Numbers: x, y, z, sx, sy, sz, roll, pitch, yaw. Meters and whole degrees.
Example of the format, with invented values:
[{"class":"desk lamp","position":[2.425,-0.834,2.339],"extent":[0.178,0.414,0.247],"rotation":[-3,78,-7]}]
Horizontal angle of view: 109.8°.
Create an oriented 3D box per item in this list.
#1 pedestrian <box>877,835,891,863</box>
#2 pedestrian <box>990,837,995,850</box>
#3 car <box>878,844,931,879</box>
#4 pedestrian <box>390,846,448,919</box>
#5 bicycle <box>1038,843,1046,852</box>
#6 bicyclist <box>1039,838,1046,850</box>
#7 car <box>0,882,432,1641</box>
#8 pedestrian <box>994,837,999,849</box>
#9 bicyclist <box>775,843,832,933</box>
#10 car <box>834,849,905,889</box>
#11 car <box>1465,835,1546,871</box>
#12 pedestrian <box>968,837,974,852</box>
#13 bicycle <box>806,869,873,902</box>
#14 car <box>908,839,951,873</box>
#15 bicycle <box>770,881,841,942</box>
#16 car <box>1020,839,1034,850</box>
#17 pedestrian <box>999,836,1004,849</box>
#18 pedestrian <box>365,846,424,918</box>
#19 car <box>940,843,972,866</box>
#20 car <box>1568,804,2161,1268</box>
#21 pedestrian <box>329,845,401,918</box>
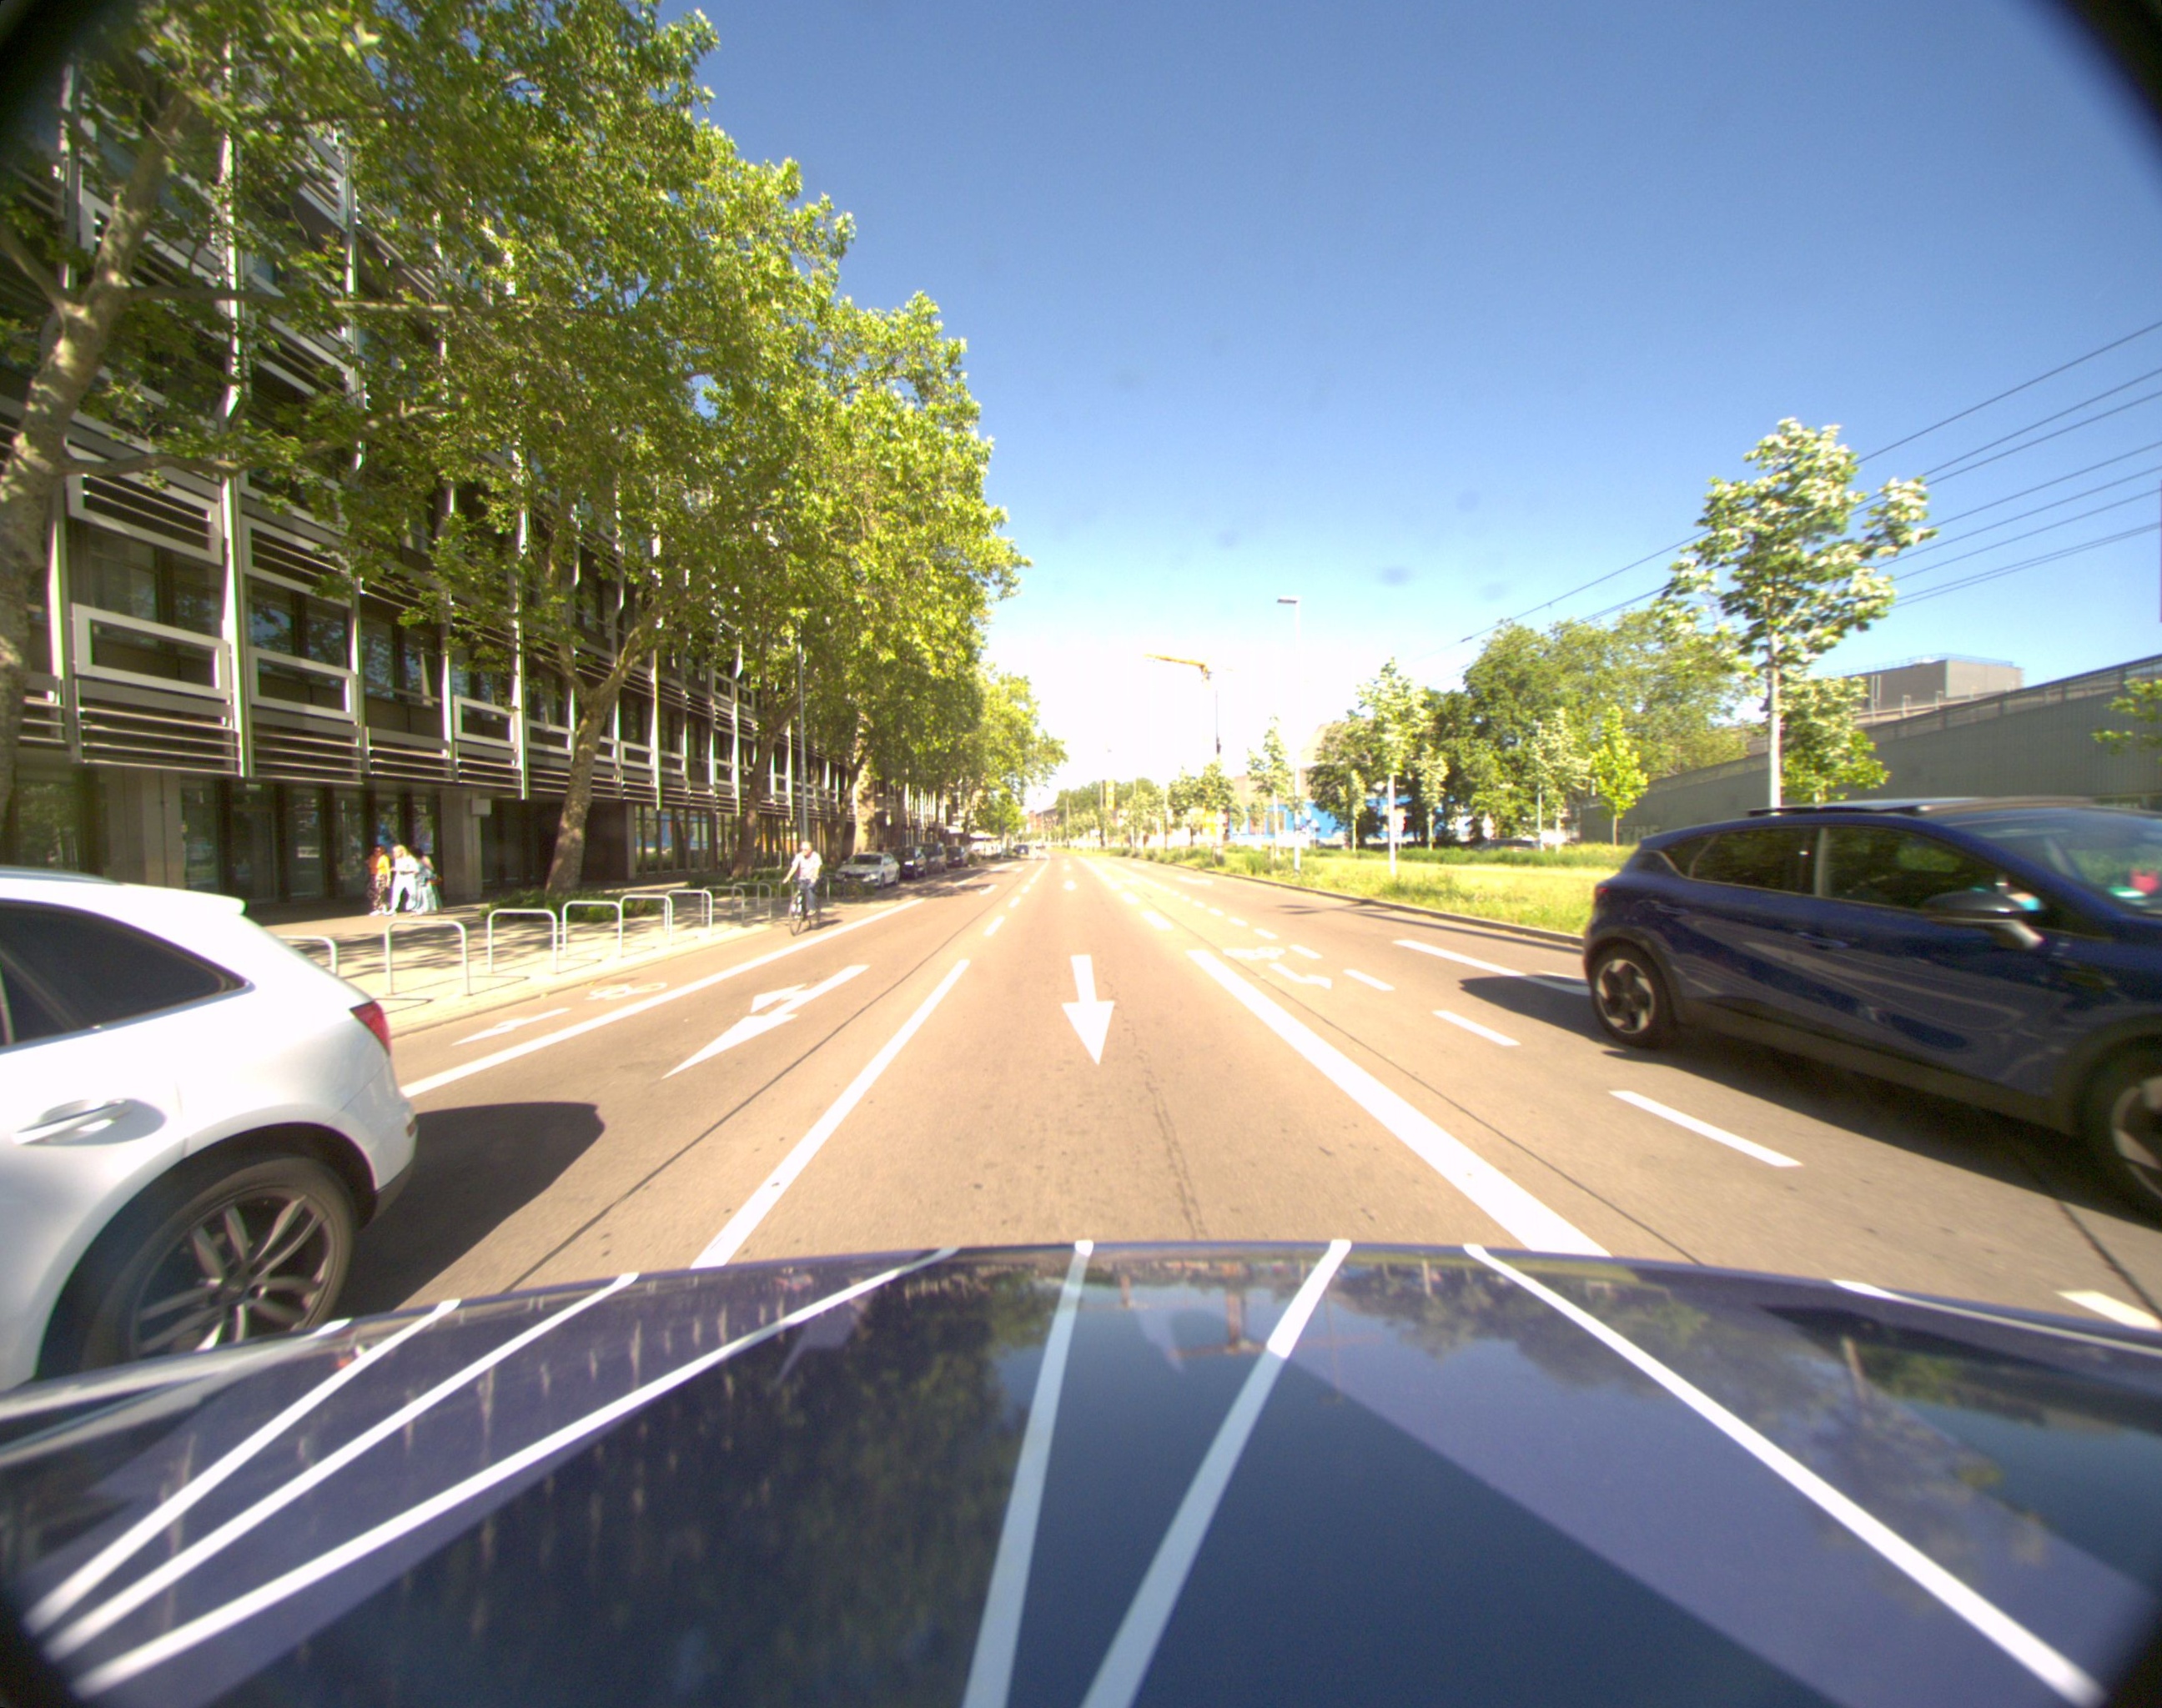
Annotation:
[{"class":"pedestrian","position":[-13.997,-0.346,53.944],"extent":[0.741,2.002,0.626],"rotation":[-1,2,3]},{"class":"pedestrian","position":[-12.488,-1.434,107.200],"extent":[0.591,1.830,0.696],"rotation":[-2,2,-2]},{"class":"car","position":[-8.798,0.337,38.194],"extent":[1.752,1.624,4.335],"rotation":[0,1,-1]},{"class":"pedestrian","position":[-14.866,0.632,17.072],"extent":[0.668,1.592,0.727],"rotation":[1,2,-1]},{"class":"bicycle","position":[-4.775,-0.844,94.062],"extent":[0.845,1.124,2.552],"rotation":[-1,1,-1]},{"class":"bicyclist","position":[-4.775,-1.239,94.054],"extent":[0.830,1.380,0.903],"rotation":[-1,2,-1]},{"class":"car","position":[-3.298,0.970,0.543],"extent":[1.824,1.604,4.411],"rotation":[-1,1,0]},{"class":"pedestrian","position":[-12.410,-1.606,111.198],"extent":[0.591,1.830,0.569],"rotation":[-2,2,-2]},{"class":"bicyclist","position":[-5.438,0.646,14.934],"extent":[0.711,1.678,0.852],"rotation":[-3,2,-3]},{"class":"car","position":[-8.679,0.552,31.518],"extent":[1.752,1.482,4.558],"rotation":[0,1,-1]},{"class":"car","position":[21.226,-0.065,38.188],"extent":[1.830,1.680,4.090],"rotation":[-1,1,0]},{"class":"pedestrian","position":[-13.263,-1.152,91.310],"extent":[0.591,1.830,0.697],"rotation":[-2,2,-2]},{"class":"bicycle","position":[-7.421,0.970,23.414],"extent":[1.849,0.955,0.711],"rotation":[1,1,-6]},{"class":"car","position":[-8.709,0.070,43.957],"extent":[1.752,1.811,4.335],"rotation":[0,1,-1]},{"class":"bicycle","position":[-5.404,1.104,15.030],"extent":[0.711,0.987,1.923],"rotation":[-3,1,-3]},{"class":"car","position":[-8.448,-1.504,118.379],"extent":[1.999,1.598,3.894],"rotation":[-1,1,-3]},{"class":"pedestrian","position":[-11.273,-1.662,107.490],"extent":[0.591,1.830,0.569],"rotation":[-2,2,-2]},{"class":"pedestrian","position":[-15.567,0.617,17.241],"extent":[0.668,1.592,0.727],"rotation":[1,2,0]},{"class":"car","position":[-9.051,0.015,55.359],"extent":[1.752,1.545,4.335],"rotation":[0,1,-1]},{"class":"car","position":[4.565,0.587,3.566],"extent":[1.775,1.579,4.086],"rotation":[-3,2,-3]},{"class":"pedestrian","position":[-16.265,0.603,17.281],"extent":[0.668,1.592,1.009],"rotation":[1,2,-1]}]
